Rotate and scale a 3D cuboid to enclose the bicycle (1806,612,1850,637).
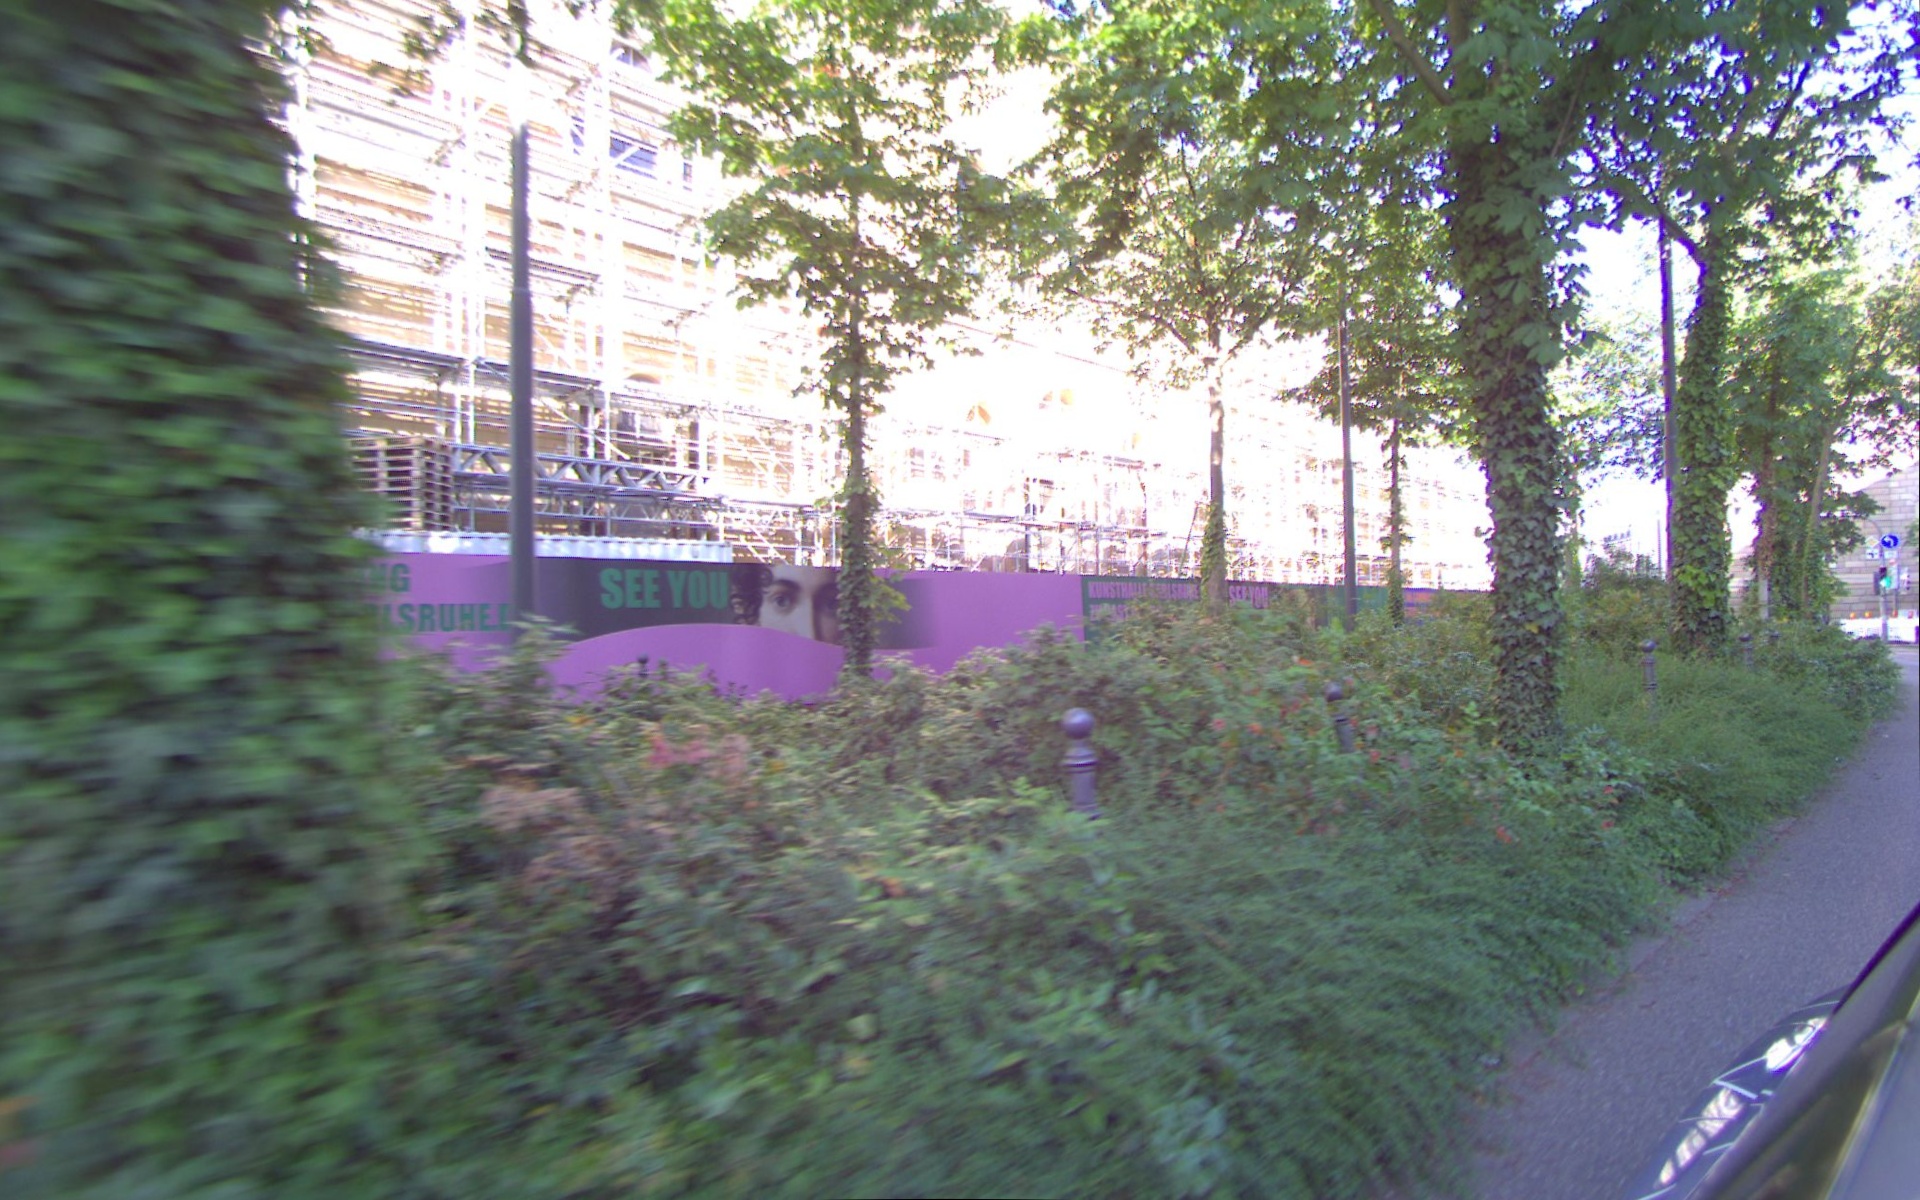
[{"bbox_3d":[38.482,1.080,44.884,0.764,1.076,2.064,-1,-1,19],"label":"bicycle"}]
